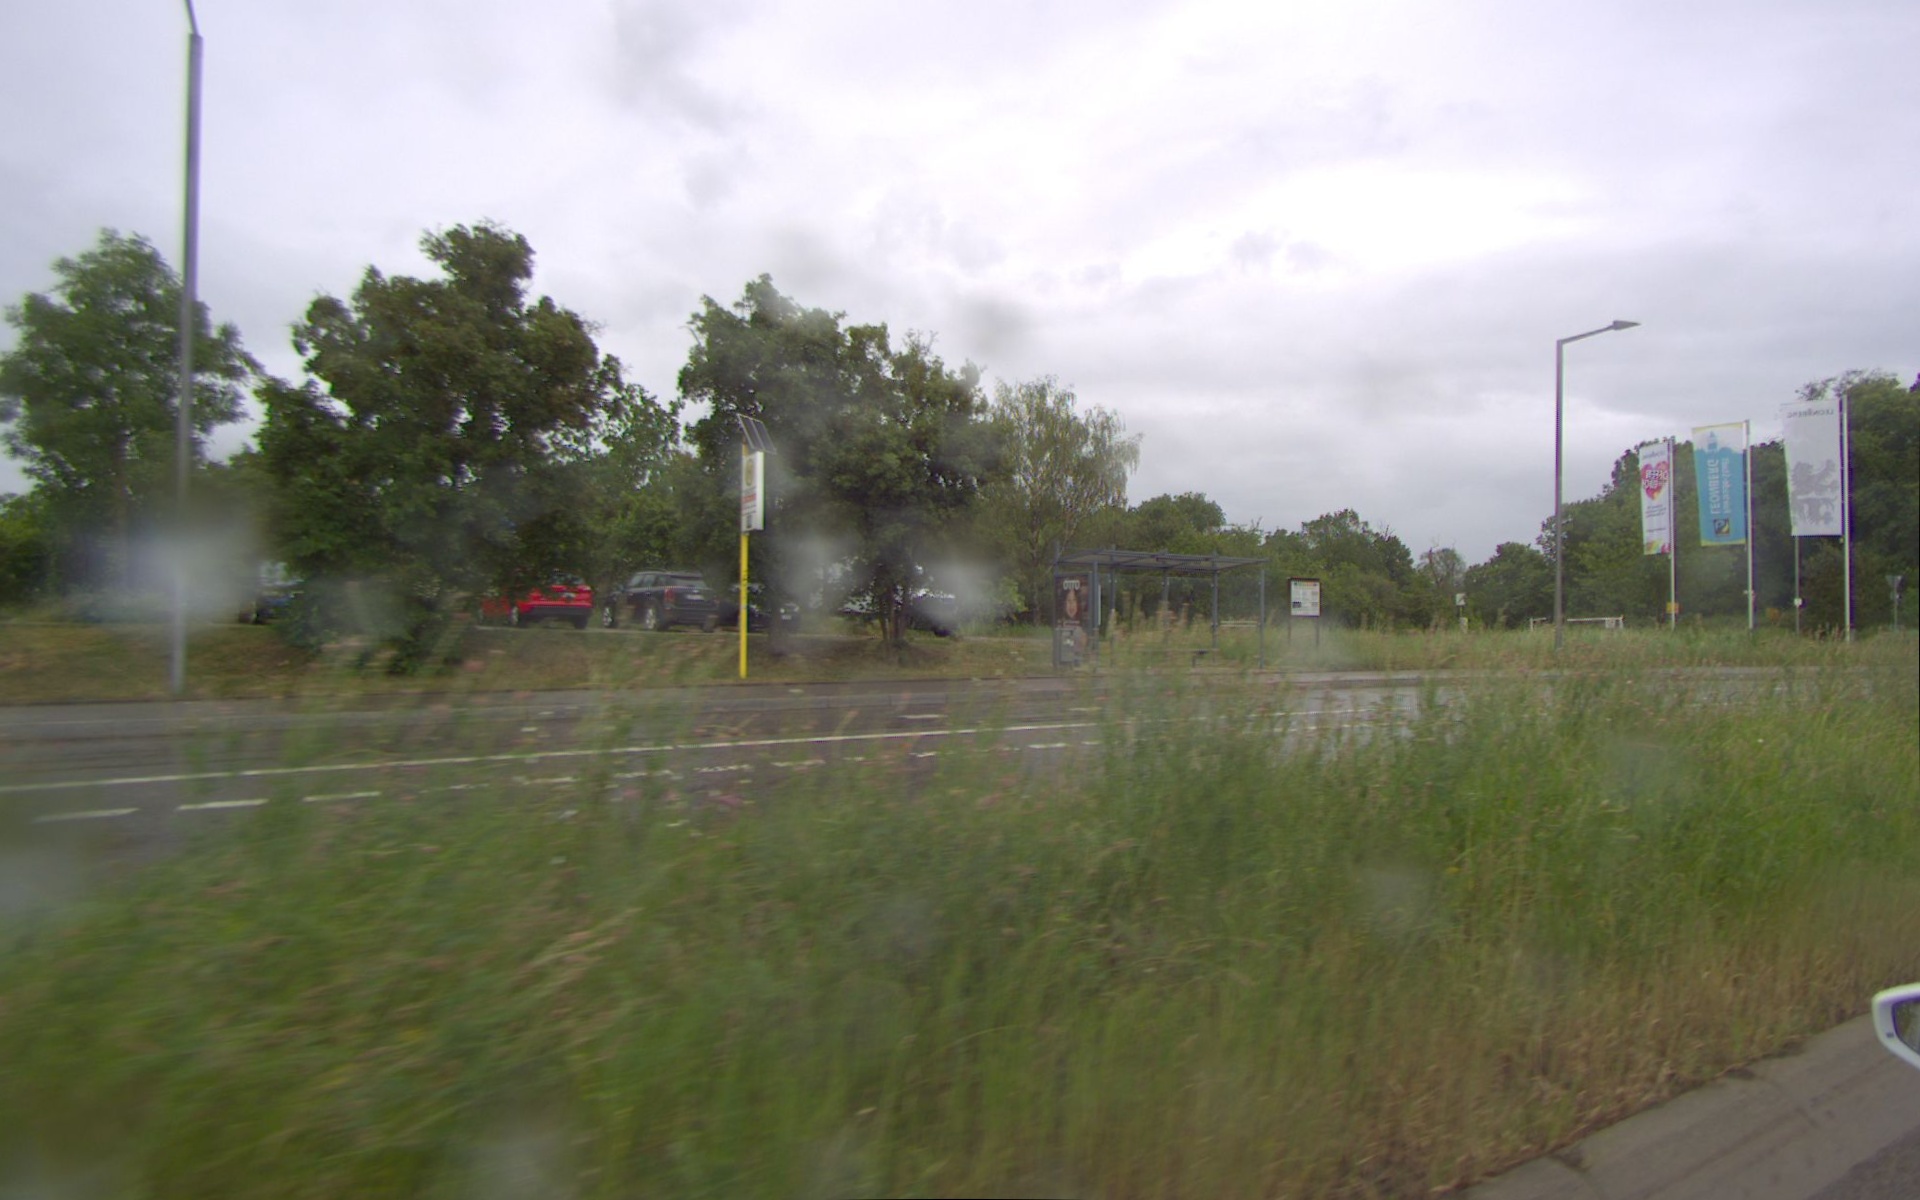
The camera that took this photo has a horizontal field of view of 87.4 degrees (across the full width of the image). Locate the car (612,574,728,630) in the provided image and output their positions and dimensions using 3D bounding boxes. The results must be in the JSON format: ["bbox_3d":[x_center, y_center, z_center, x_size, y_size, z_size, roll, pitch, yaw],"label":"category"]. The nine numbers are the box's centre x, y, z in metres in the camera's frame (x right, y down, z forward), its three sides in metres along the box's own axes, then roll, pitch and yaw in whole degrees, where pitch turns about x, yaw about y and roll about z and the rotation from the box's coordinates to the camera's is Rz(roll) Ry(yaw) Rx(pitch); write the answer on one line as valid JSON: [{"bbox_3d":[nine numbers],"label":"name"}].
[{"bbox_3d":[-7.868,0.102,27.069,1.829,1.382,3.961,2,-2,-35],"label":"car"}]

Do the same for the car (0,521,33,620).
[{"bbox_3d":[-18.370,-0.510,18.061,1.986,1.715,4.672,2,-2,-37],"label":"car"}]

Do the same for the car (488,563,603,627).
[{"bbox_3d":[-10.688,-0.077,25.747,1.830,1.488,3.959,2,-2,-36],"label":"car"}]

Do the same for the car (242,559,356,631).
[{"bbox_3d":[-14.271,-0.142,21.667,1.881,1.382,3.961,2,1,-35],"label":"car"}]

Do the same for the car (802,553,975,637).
[{"bbox_3d":[-2.479,-0.163,32.707,2.122,2.429,6.499,4,-2,-40],"label":"car"}]

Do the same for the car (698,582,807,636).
[{"bbox_3d":[-6.050,0.224,28.941,1.636,1.382,3.960,2,1,-35],"label":"car"}]
